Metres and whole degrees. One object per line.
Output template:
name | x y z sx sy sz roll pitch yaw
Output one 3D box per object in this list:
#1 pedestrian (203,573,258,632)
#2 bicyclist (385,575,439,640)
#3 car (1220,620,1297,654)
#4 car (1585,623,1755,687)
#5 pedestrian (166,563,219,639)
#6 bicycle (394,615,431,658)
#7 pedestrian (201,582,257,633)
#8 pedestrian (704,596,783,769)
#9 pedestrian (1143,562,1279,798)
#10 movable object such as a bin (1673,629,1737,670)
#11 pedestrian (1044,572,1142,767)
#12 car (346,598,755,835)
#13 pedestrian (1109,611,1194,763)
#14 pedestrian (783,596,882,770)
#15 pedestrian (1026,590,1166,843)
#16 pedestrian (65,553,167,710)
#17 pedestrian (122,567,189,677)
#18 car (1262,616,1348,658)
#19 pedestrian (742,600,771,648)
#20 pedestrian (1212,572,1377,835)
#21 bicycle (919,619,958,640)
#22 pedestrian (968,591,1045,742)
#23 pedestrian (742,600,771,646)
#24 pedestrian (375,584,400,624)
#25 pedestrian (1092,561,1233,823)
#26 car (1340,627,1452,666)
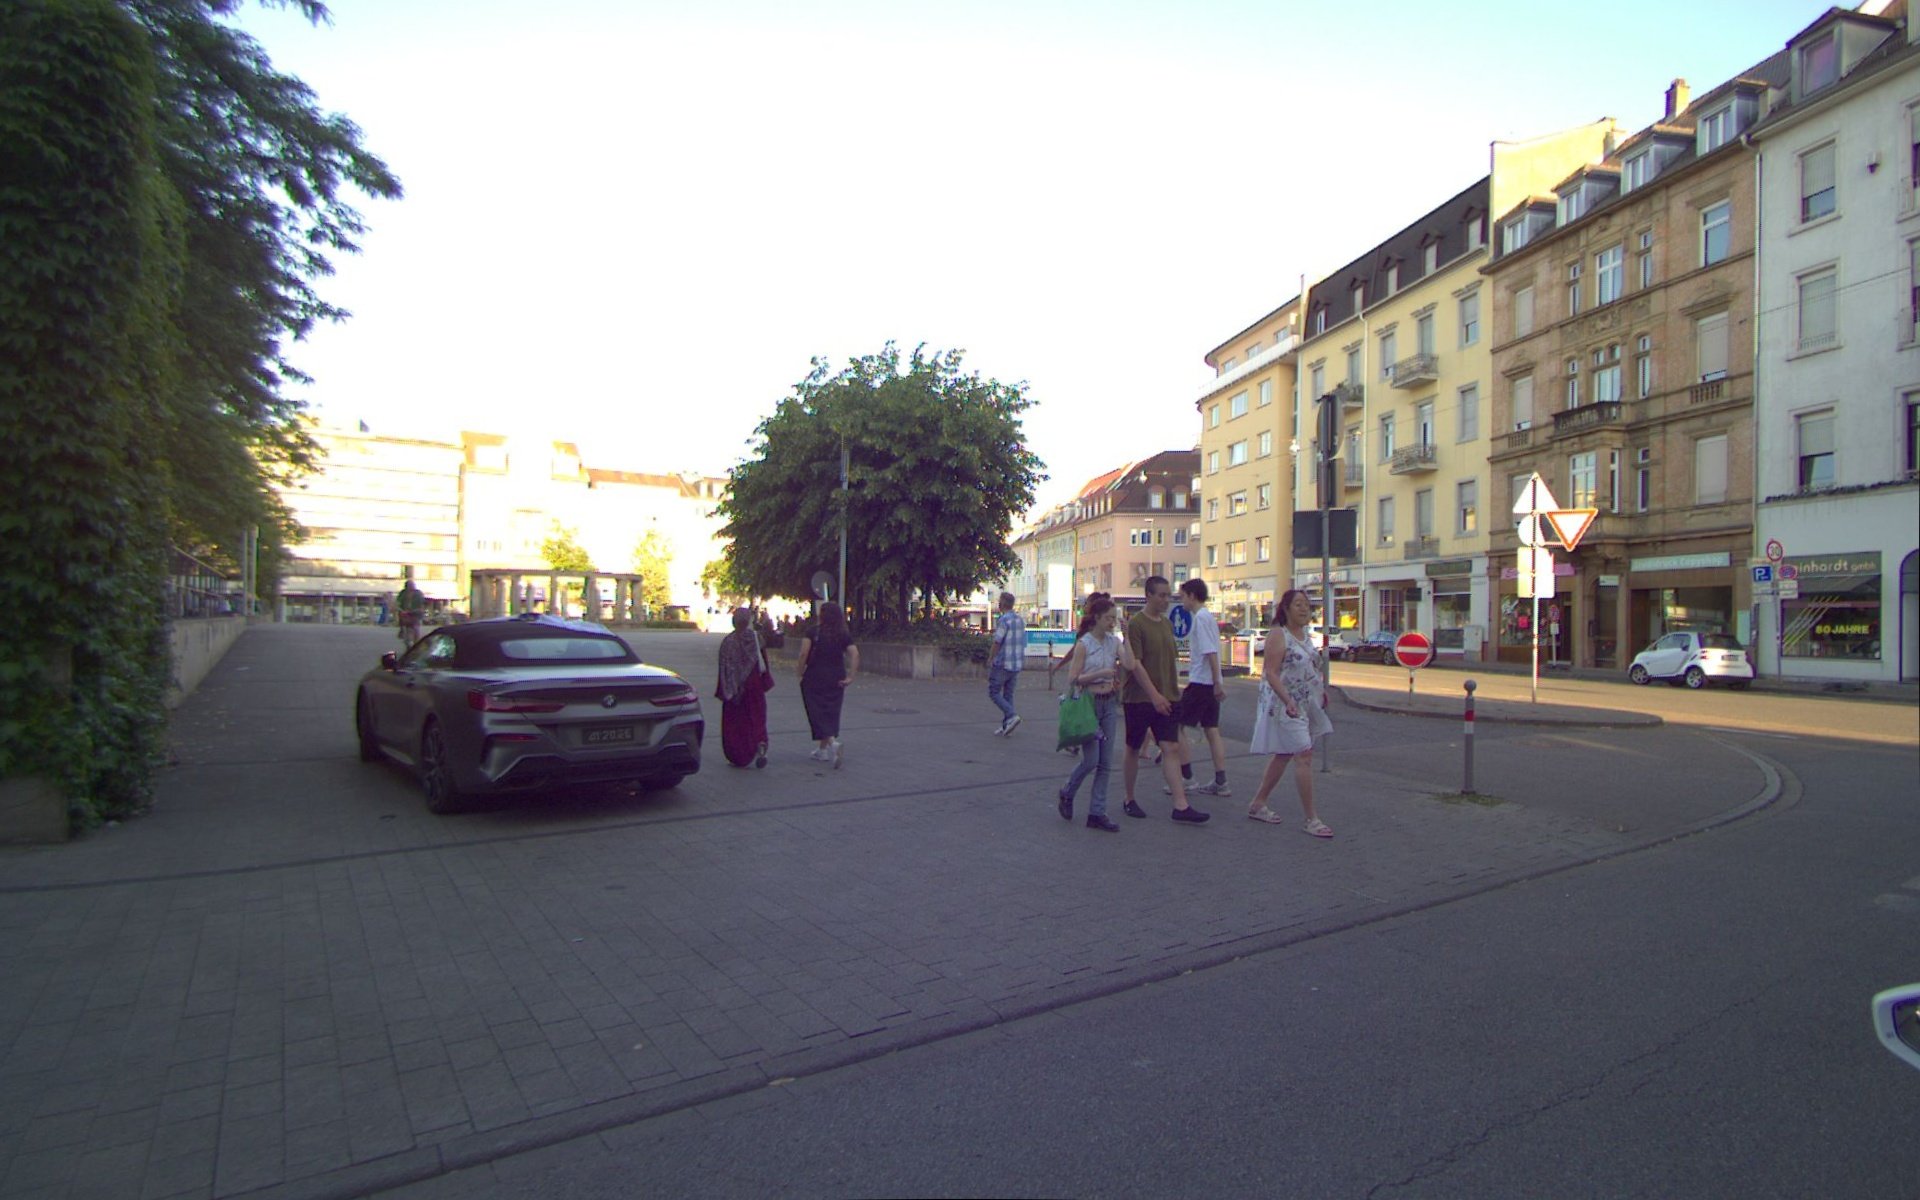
pedestrian | -21.172 0.076 29.155 1.256 1.669 0.701 2 -1 -37
bicyclist | -12.256 0.174 22.447 1.000 1.408 0.694 1 -1 -32
car | 15.816 1.953 53.515 1.986 1.564 4.861 1 0 -9
car | 20.269 1.521 28.895 1.675 1.606 3.993 1 0 -9
pedestrian | -17.999 0.032 23.578 0.912 1.749 0.696 1 -1 -35
bicycle | -12.222 0.798 22.417 0.632 0.893 1.616 1 -1 -31
pedestrian | -20.765 0.223 28.535 1.256 1.398 0.729 2 -1 -38
pedestrian | -2.038 0.753 9.463 0.668 1.563 0.591 1 0 -13
pedestrian | 2.107 0.643 8.569 0.965 1.878 0.890 1 0 6
movable object such as a bin | 23.025 1.523 31.079 0.853 1.202 1.396 1 -1 -10
pedestrian | 1.370 0.676 10.313 0.767 1.900 0.713 2 0 27
car | -3.795 0.760 8.794 2.089 1.450 4.398 1 0 -40
pedestrian | 2.009 0.876 10.513 0.703 1.506 0.603 2 0 27
pedestrian | -1.246 0.778 9.757 0.787 1.603 0.727 1 0 -20
pedestrian | 1.002 0.789 7.315 0.701 1.691 0.881 2 0 29
pedestrian | -10.106 0.372 12.067 0.789 1.805 0.755 2 -1 -32
pedestrian | -13.240 0.362 16.548 0.796 1.749 0.617 1 -1 -35
car | 16.390 1.730 47.958 1.854 1.768 4.650 1 0 -10
pedestrian | -8.909 1.049 44.017 0.896 2.040 0.919 1 -1 13
pedestrian | 2.462 0.727 7.444 0.869 1.827 0.712 1 0 -18
bicycle | -1.440 1.995 67.587 2.460 1.301 0.816 1 -1 11
pedestrian | 0.576 0.786 12.348 0.675 1.769 0.715 2 0 27
pedestrian | -9.182 1.021 45.376 0.896 2.040 0.919 1 -1 13
pedestrian | -28.553 0.188 50.087 0.789 1.974 0.730 1 -1 19
pedestrian | 1.532 0.677 7.703 0.836 1.902 0.713 1 0 -8
car | 18.114 1.897 41.984 1.964 1.453 4.842 2 -1 -9
